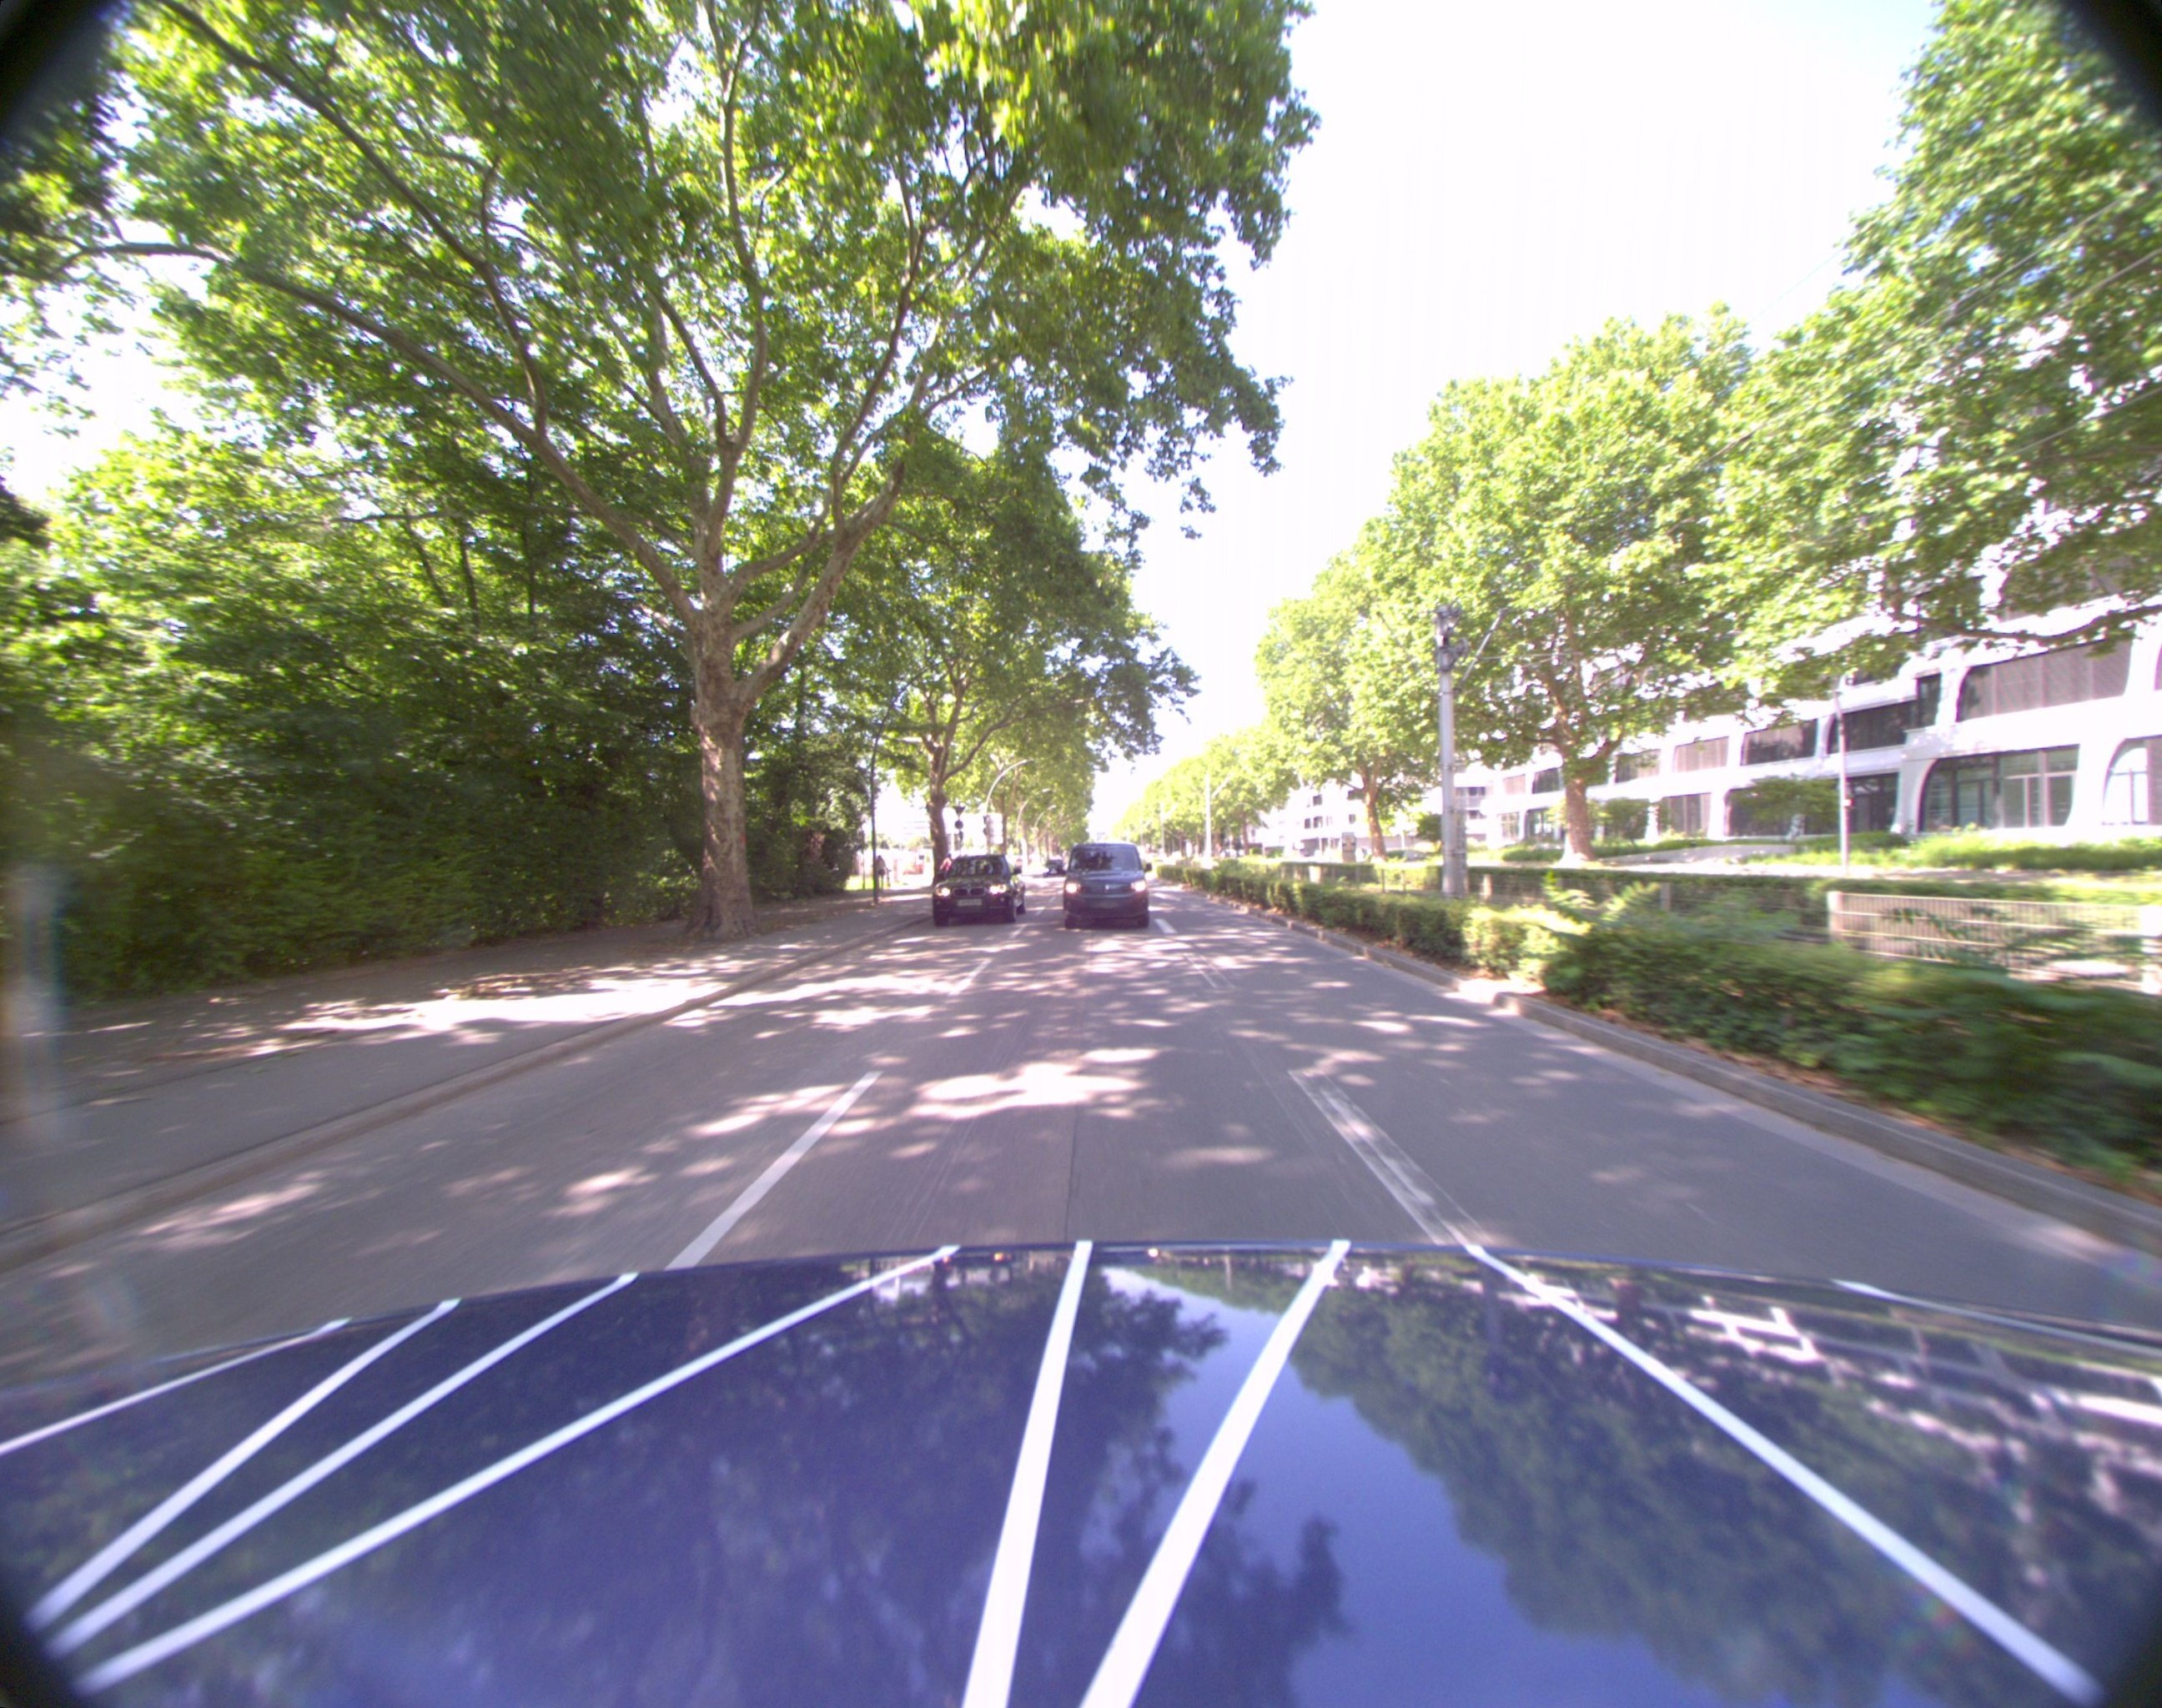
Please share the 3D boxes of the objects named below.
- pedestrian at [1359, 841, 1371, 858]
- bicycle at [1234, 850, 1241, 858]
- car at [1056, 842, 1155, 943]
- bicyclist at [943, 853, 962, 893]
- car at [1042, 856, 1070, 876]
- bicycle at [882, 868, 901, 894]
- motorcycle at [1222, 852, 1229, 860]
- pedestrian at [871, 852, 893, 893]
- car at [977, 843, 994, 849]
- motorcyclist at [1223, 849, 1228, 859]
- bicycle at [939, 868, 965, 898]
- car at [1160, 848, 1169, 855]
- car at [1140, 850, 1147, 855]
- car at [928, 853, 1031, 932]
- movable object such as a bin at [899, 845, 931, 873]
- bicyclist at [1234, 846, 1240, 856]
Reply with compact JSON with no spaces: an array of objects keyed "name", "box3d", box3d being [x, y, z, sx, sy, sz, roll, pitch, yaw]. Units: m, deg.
[{"name":"pedestrian","box3d":[27.027,-0.444,72.304,0.722,1.579,1.015,-2,1,2]},{"name":"bicycle","box3d":[23.947,-0.039,116.569,0.665,1.117,2.031,-2,0,2]},{"name":"car","box3d":[0.527,0.697,16.039,1.789,1.839,4.000,-1,0,2]},{"name":"bicyclist","box3d":[-5.145,0.757,30.459,0.621,1.590,0.732,0,0,0]},{"name":"car","box3d":[-1.920,0.962,60.247,1.854,1.418,4.152,-2,0,2]},{"name":"bicycle","box3d":[-8.419,1.178,33.835,0.350,1.075,1.699,-2,0,1]},{"name":"motorcycle","box3d":[20.241,0.305,106.547,0.634,1.168,2.000,-2,0,2]},{"name":"pedestrian","box3d":[-8.799,0.801,33.638,0.633,1.775,0.874,-2,1,1]},{"name":"car","box3d":[-24.249,-2.078,193.287,3.998,1.501,1.808,-2,0,-2]},{"name":"motorcyclist","box3d":[20.237,0.020,106.633,0.582,1.449,0.533,-2,1,2]},{"name":"bicycle","box3d":[-5.147,1.133,30.355,0.653,1.123,1.945,0,0,1]},{"name":"car","box3d":[19.832,-0.561,181.544,1.761,1.560,4.019,-2,0,2]},{"name":"car","box3d":[20.246,-0.448,245.894,1.820,1.482,3.912,0,0,0]},{"name":"car","box3d":[-2.493,0.887,19.639,1.924,1.720,4.152,-2,0,1]},{"name":"movable object such as a bin","box3d":[-18.907,0.569,86.899,2.375,3.054,5.984,-2,0,-1]},{"name":"bicyclist","box3d":[23.937,-0.394,116.564,0.656,1.526,0.641,-2,0,2]}]
